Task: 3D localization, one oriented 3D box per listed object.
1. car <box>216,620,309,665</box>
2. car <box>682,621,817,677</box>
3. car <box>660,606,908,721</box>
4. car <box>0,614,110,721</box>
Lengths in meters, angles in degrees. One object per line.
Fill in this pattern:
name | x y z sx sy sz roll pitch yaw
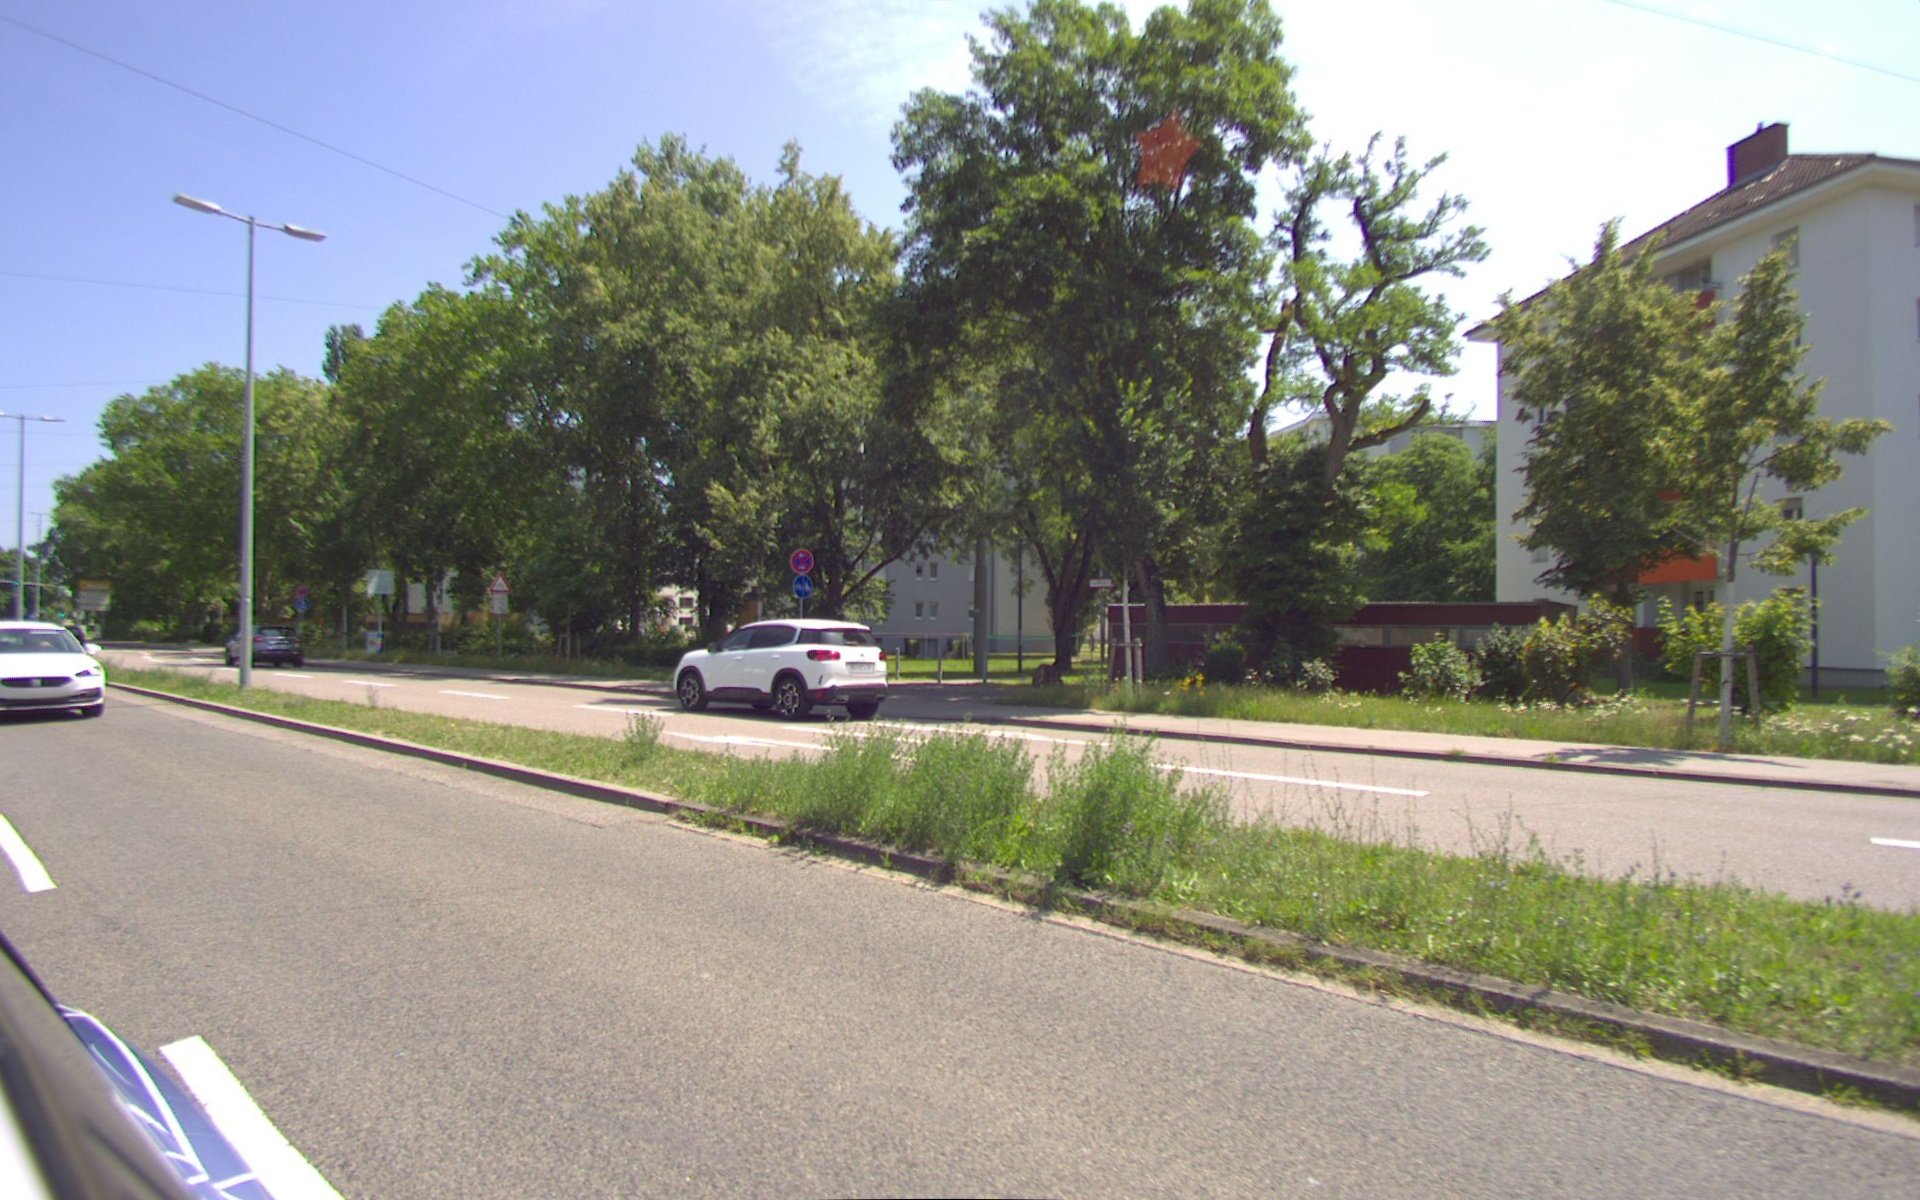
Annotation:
car | -25.628 1.550 37.132 4.079 1.566 1.750 -1 -3 40
car | -6.437 1.458 30.769 3.998 1.597 1.973 -1 -3 41
car | -3.186 1.071 17.796 4.477 1.772 1.840 -1 -4 41
car | -14.674 0.965 15.611 4.109 1.479 1.750 -1 -1 40
